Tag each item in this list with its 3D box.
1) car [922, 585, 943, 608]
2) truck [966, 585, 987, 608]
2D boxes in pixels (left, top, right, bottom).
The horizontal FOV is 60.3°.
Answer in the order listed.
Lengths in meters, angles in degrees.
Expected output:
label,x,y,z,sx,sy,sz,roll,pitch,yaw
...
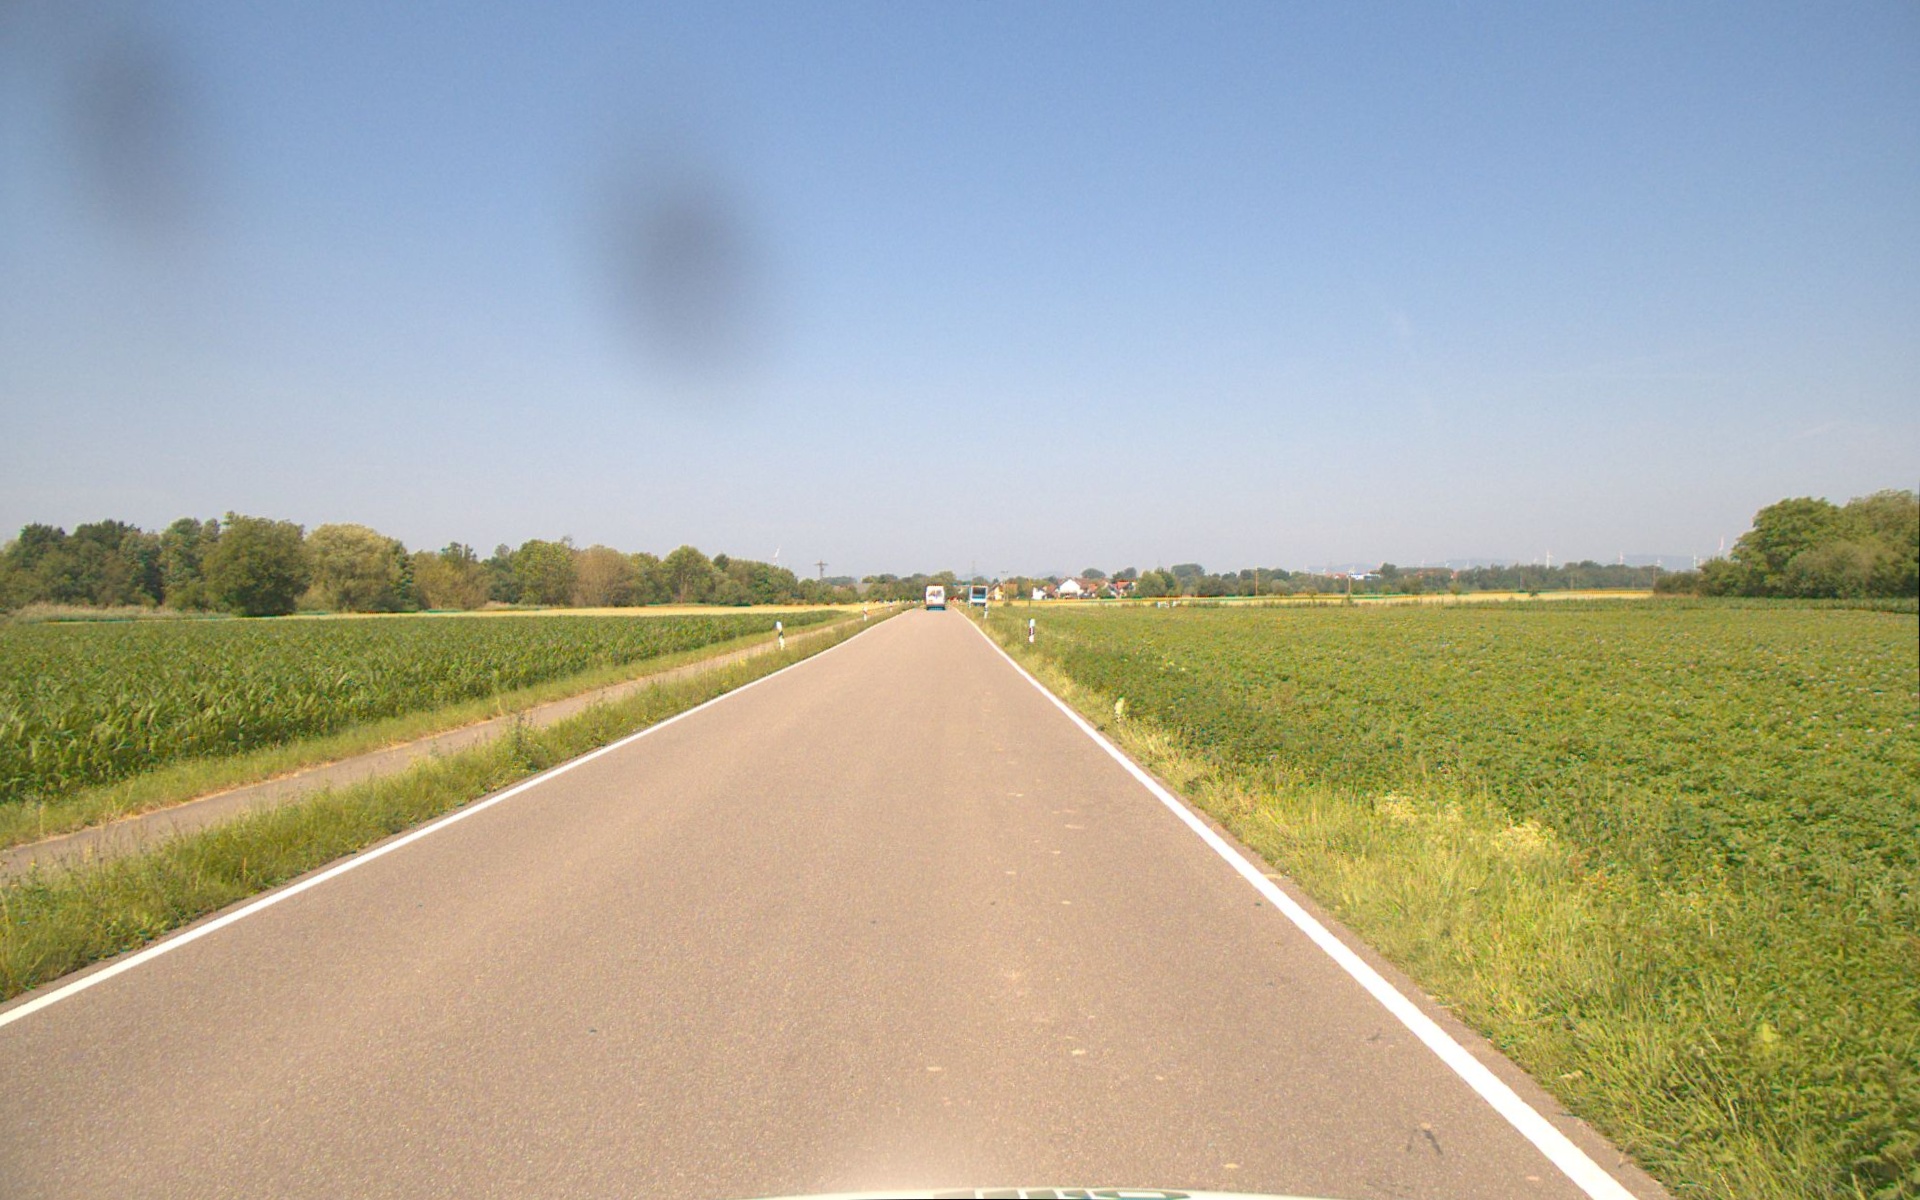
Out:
label,x,y,z,sx,sy,sz,roll,pitch,yaw
car,-2.900,-0.328,175.114,2.064,2.344,5.494,1,0,-1
truck,2.155,-0.440,217.272,2.289,2.994,7.005,2,0,-3
